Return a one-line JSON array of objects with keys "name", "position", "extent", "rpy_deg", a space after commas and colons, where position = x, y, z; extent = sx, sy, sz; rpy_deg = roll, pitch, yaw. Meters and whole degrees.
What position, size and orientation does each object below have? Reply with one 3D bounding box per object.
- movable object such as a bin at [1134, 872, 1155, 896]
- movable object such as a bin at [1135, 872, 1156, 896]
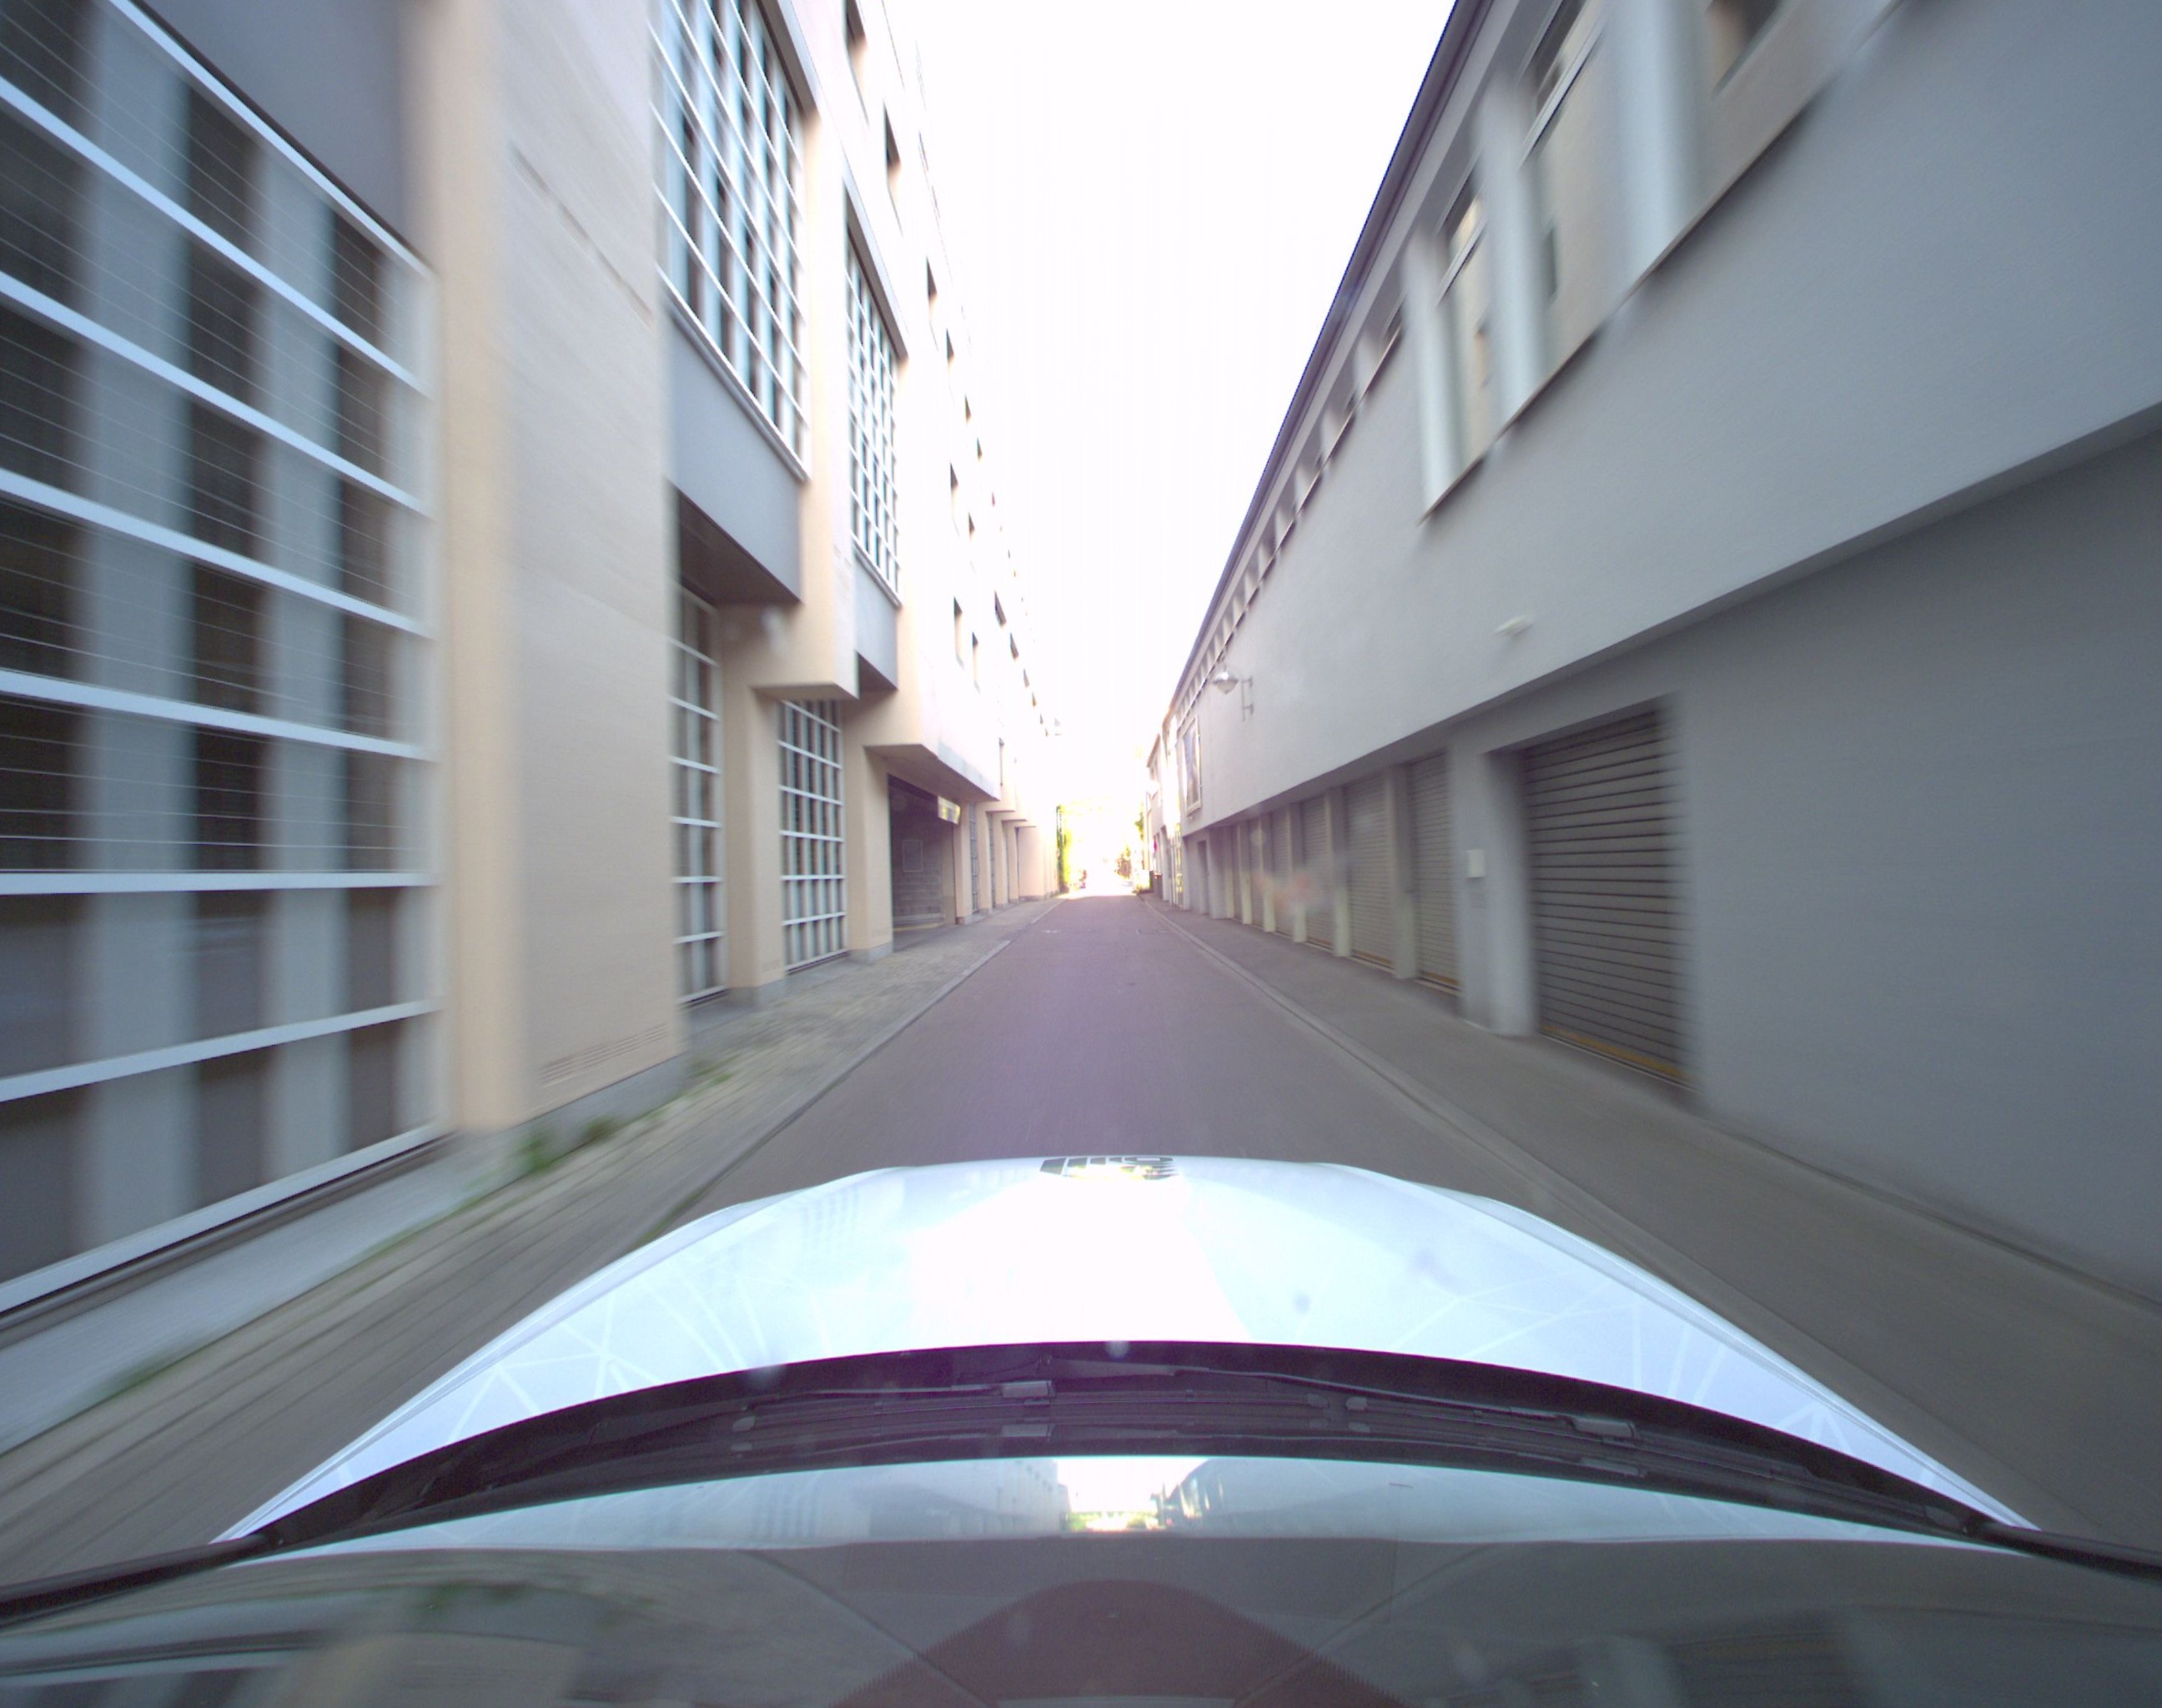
[{"name": "movable object such as a bin", "position": [3.846, 1.806, 49.371], "extent": [1.061, 1.367, 1.341], "rpy_deg": [-5, -2, -1]}, {"name": "movable object such as a bin", "position": [3.771, 1.763, 47.967], "extent": [0.935, 1.367, 1.340], "rpy_deg": [-4, -2, -5]}]
